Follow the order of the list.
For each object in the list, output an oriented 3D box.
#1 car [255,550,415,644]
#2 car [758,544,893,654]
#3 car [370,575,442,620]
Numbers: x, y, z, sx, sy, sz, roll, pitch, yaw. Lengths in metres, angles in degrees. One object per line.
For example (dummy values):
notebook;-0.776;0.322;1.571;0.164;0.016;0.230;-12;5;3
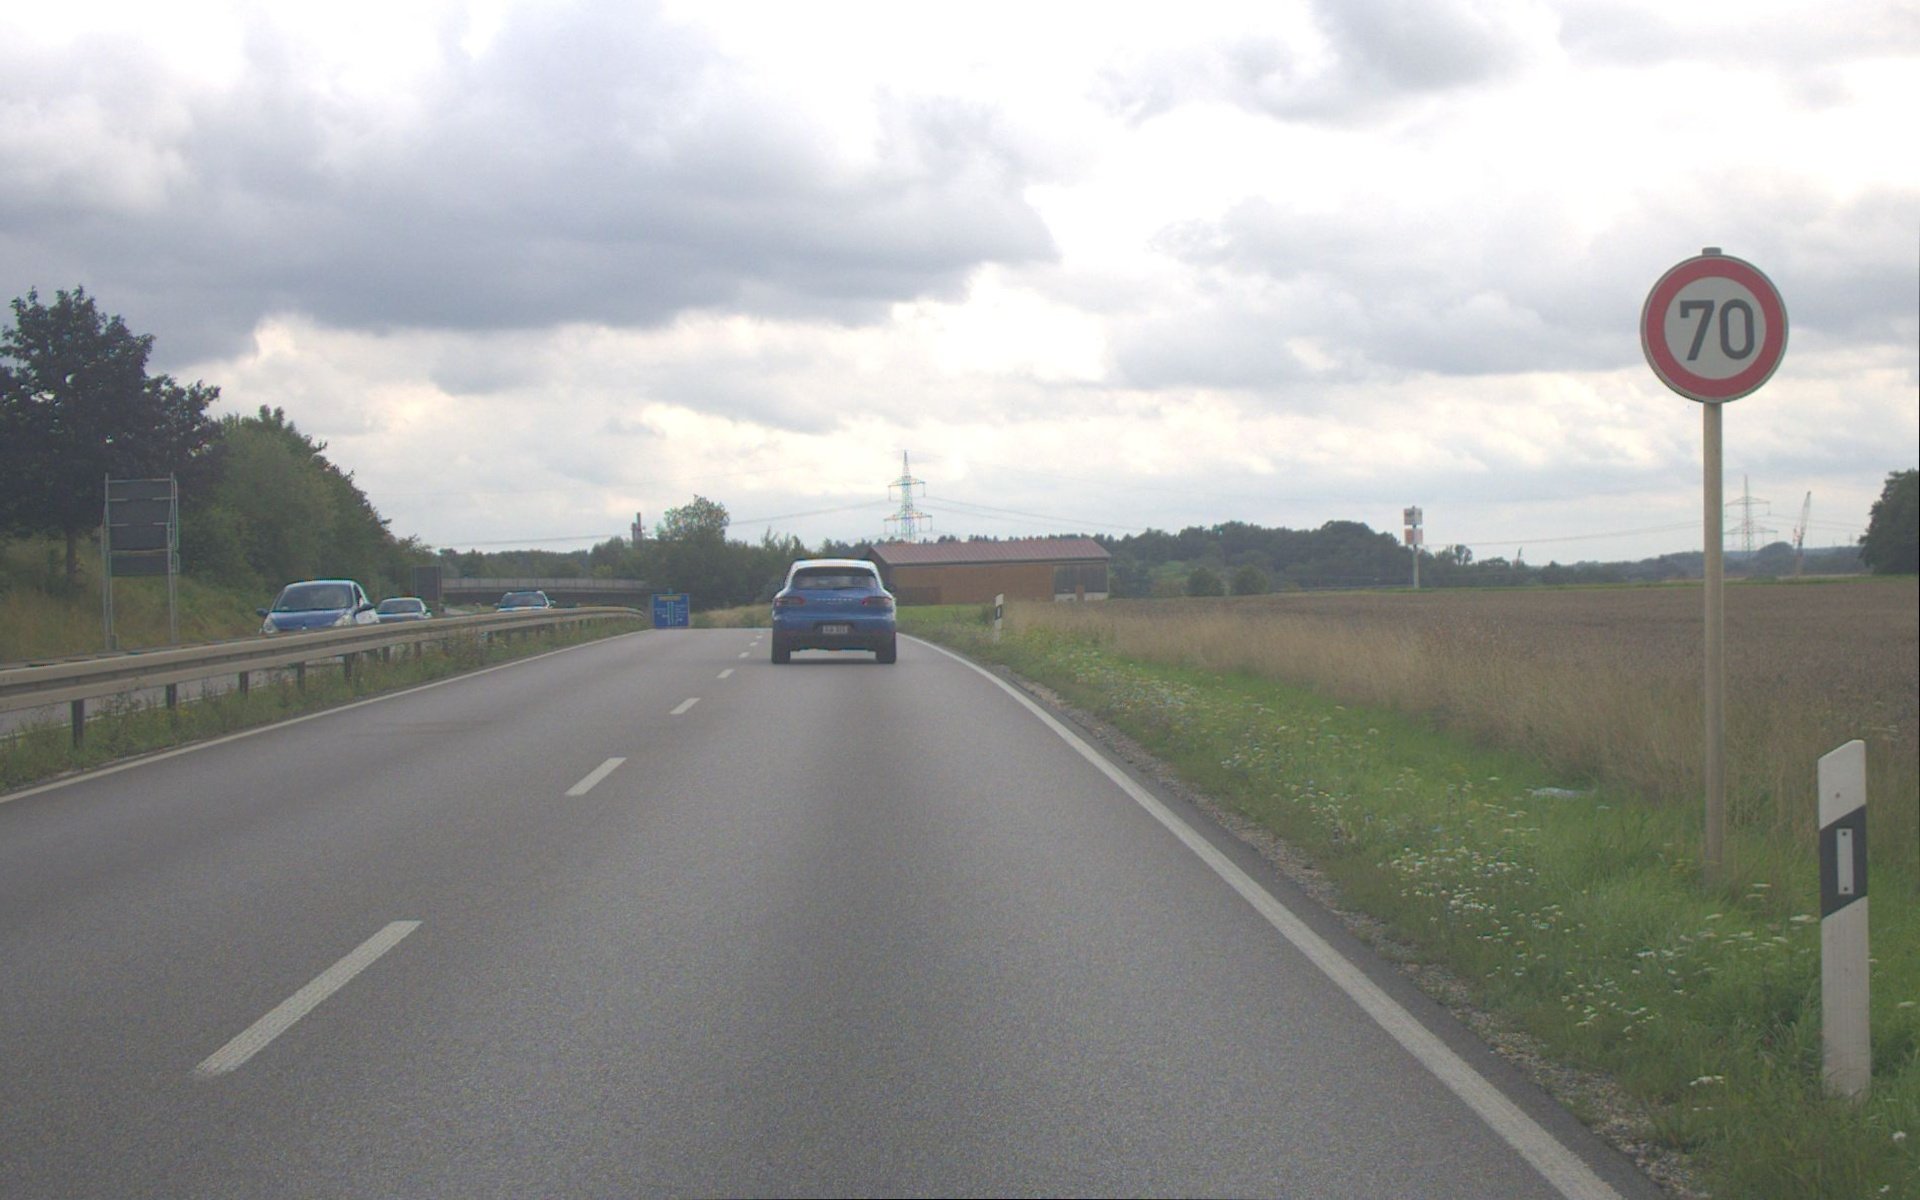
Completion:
car;-10.924;-0.082;60.378;2.086;1.514;4.193;-1;1;-1
car;-2.120;-0.036;54.381;2.033;1.655;4.544;0;1;-2
car;-17.685;-0.099;109.855;1.691;1.319;4.417;-1;1;-2
